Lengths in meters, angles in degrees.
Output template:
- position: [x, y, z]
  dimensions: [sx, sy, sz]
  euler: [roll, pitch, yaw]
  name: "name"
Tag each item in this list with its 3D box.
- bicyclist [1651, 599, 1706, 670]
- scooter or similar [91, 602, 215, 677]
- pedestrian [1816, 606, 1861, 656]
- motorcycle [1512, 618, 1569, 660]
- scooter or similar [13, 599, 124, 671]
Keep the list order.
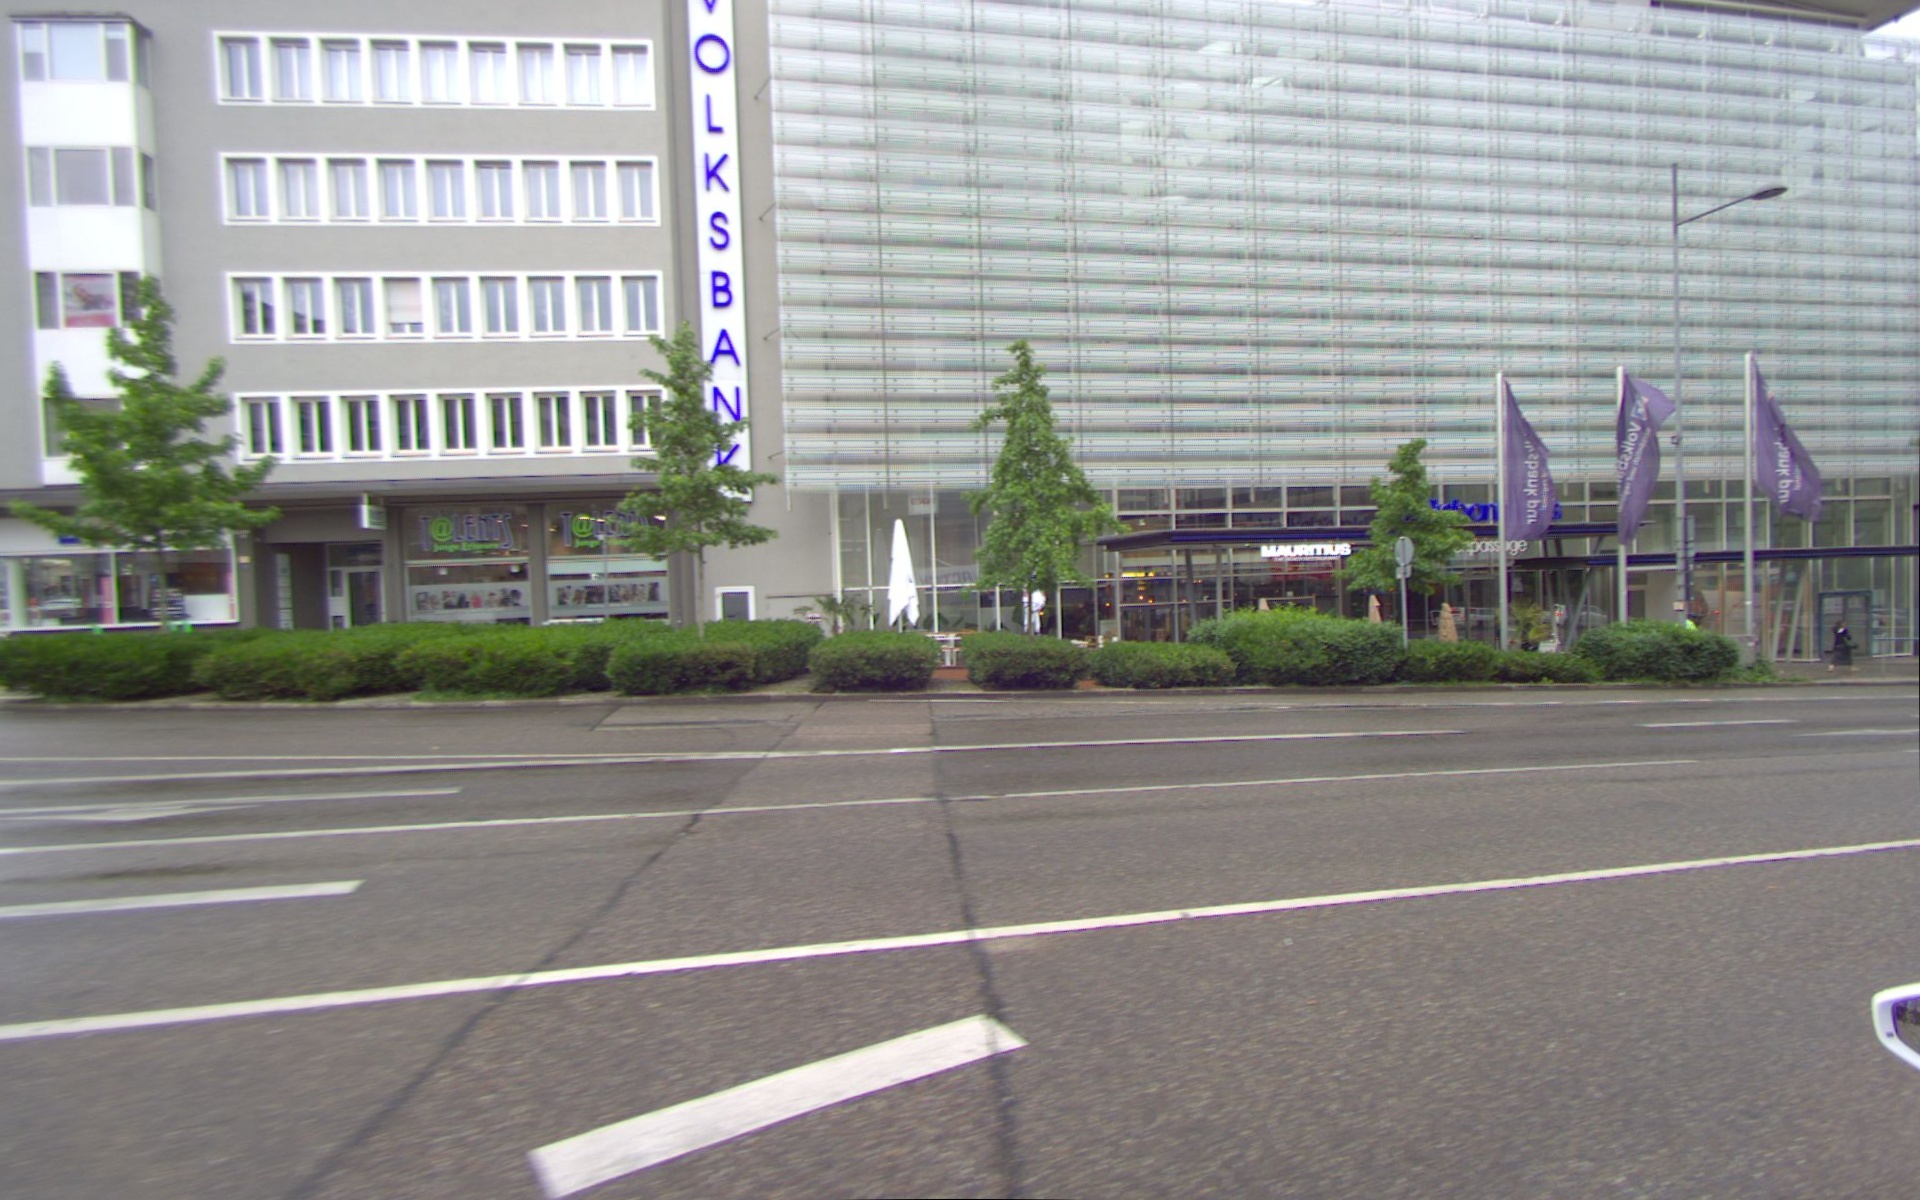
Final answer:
- position: [18.928, 0.906, 26.476]
  dimensions: [0.973, 1.854, 0.669]
  euler: [1, 0, -10]
  name: "bicyclist"
- position: [-15.332, 0.733, 19.126]
  dimensions: [1.473, 1.274, 0.930]
  euler: [0, 7, -3]
  name: "scooter or similar"
- position: [26.419, 0.931, 30.204]
  dimensions: [0.830, 1.476, 0.652]
  euler: [0, 0, -13]
  name: "pedestrian"
- position: [19.242, 1.272, 33.330]
  dimensions: [0.756, 1.313, 1.548]
  euler: [1, 1, -13]
  name: "motorcycle"
- position: [-15.492, 0.598, 17.478]
  dimensions: [1.357, 1.203, 0.544]
  euler: [-2, 1, -3]
  name: "scooter or similar"
